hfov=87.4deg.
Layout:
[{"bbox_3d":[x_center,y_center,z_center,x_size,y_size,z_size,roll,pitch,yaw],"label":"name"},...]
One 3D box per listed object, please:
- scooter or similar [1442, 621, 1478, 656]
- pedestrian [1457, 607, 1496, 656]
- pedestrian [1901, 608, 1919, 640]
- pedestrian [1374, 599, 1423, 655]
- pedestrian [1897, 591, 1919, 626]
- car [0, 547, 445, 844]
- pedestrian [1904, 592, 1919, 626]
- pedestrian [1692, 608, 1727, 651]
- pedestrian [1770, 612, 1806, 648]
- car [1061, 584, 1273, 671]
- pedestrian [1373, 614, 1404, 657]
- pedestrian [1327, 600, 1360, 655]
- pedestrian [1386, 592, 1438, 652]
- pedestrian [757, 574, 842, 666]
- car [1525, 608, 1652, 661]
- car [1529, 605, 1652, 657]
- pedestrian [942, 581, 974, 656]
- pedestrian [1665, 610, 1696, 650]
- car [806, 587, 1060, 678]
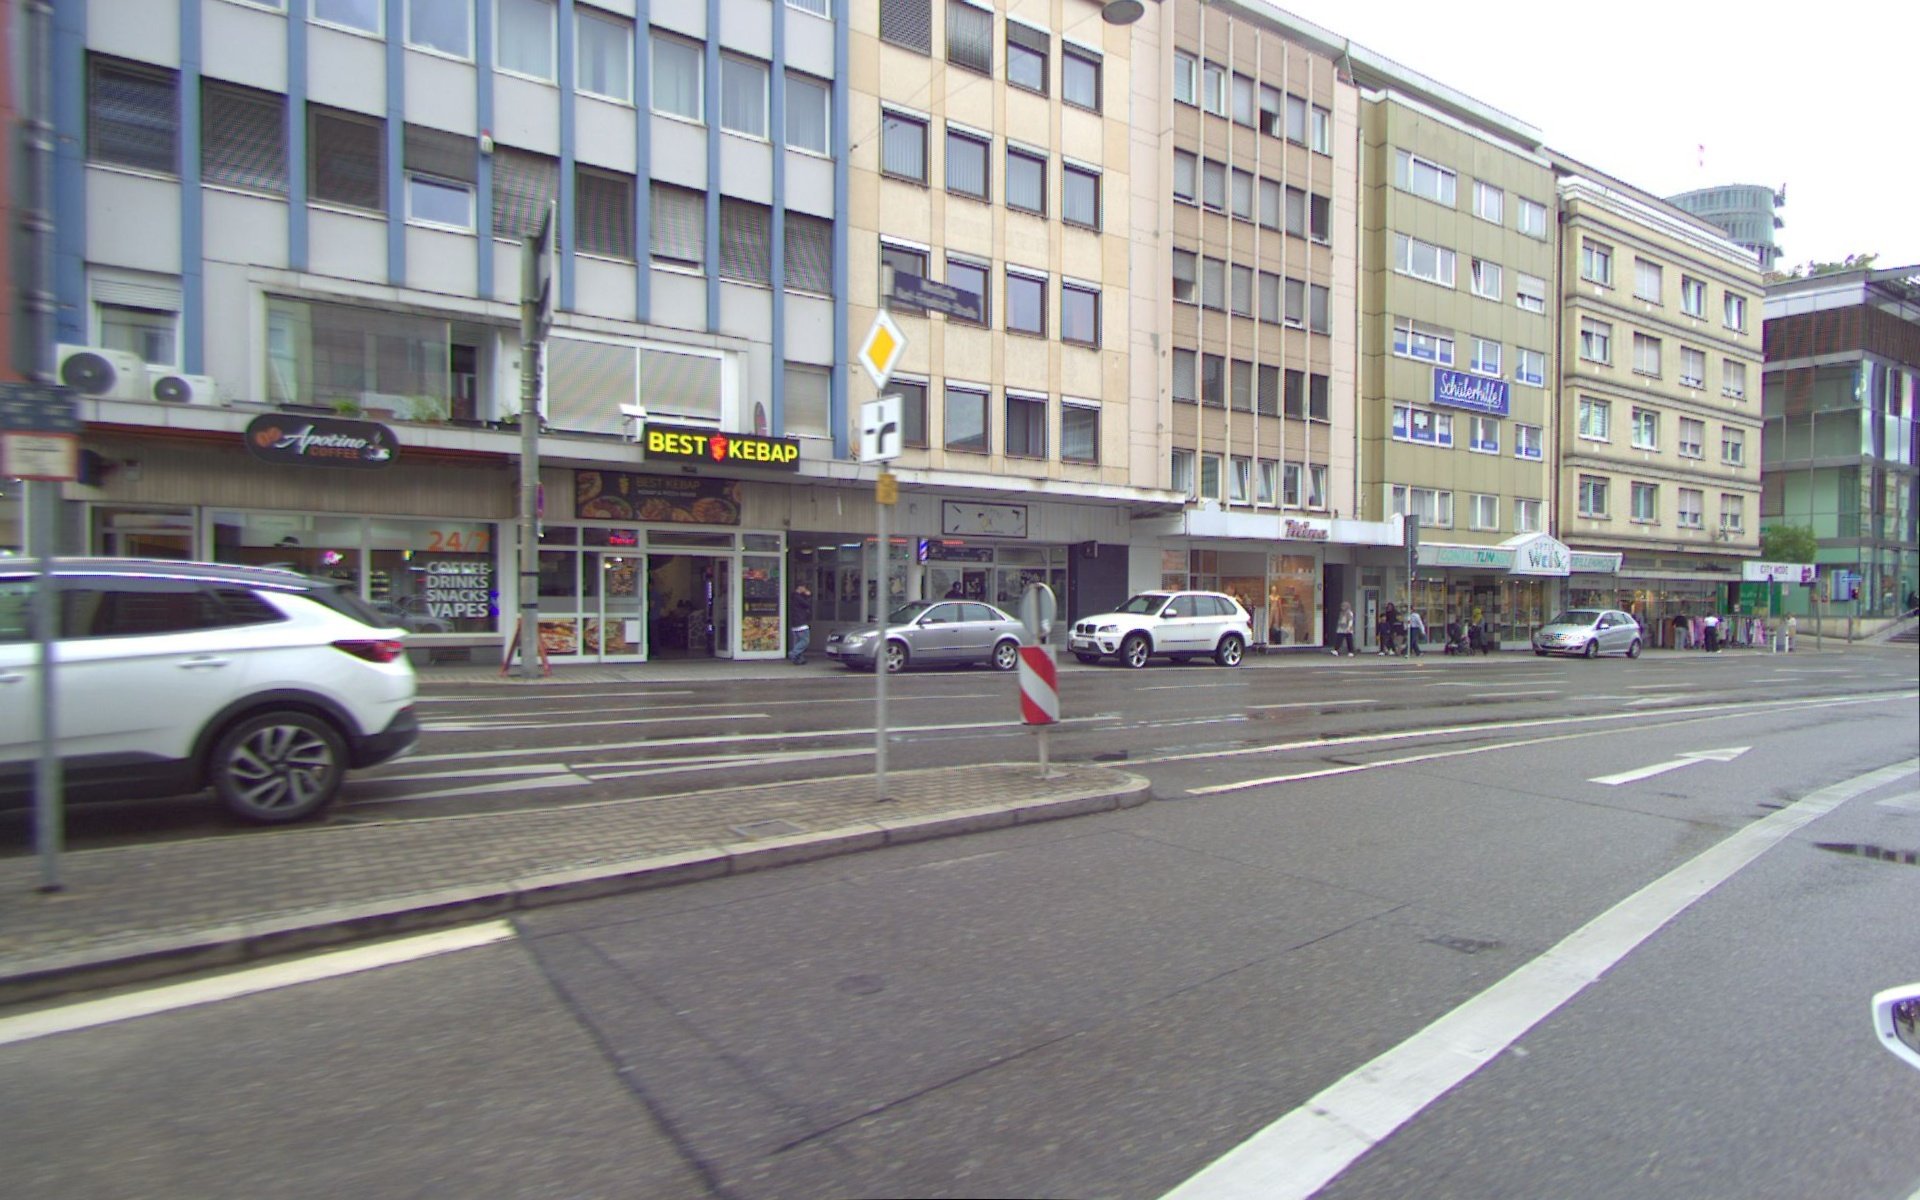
[{"bbox_3d":[16.065,1.219,32.277,0.693,1.068,0.732,0,3,-33],"label":"scooter or similar"},{"bbox_3d":[16.827,1.014,32.717,1.053,1.504,0.663,0,3,-33],"label":"pedestrian"},{"bbox_3d":[52.699,1.330,55.154,0.988,1.736,1.041,2,1,-4],"label":"pedestrian"},{"bbox_3d":[13.902,0.841,31.836,1.075,1.718,0.946,0,3,-33],"label":"pedestrian"},{"bbox_3d":[56.008,0.511,59.181,0.964,2.007,0.876,1,1,-32],"label":"pedestrian"},{"bbox_3d":[-5.729,0.475,6.118,4.386,1.573,1.979,0,3,-36],"label":"car"},{"bbox_3d":[56.844,0.558,59.683,0.840,2.007,0.870,1,1,-31],"label":"pedestrian"},{"bbox_3d":[30.190,1.173,40.490,0.828,1.650,0.775,2,2,15],"label":"pedestrian"},{"bbox_3d":[37.466,1.349,45.468,1.140,1.607,0.868,1,1,-28],"label":"pedestrian"},{"bbox_3d":[4.932,0.622,23.650,4.906,1.852,1.840,1,1,-31],"label":"car"},{"bbox_3d":[13.243,1.081,31.029,0.713,1.266,0.531,0,3,-33],"label":"pedestrian"},{"bbox_3d":[11.435,0.812,29.962,0.605,1.595,0.638,1,1,-31],"label":"pedestrian"},{"bbox_3d":[13.680,0.640,30.377,1.078,1.737,0.946,0,3,-33],"label":"pedestrian"},{"bbox_3d":[-3.203,0.378,20.031,1.403,1.741,0.946,0,3,-33],"label":"pedestrian"},{"bbox_3d":[21.053,1.095,33.618,4.351,1.571,1.837,0,3,-32],"label":"car"},{"bbox_3d":[21.117,1.034,33.613,4.152,1.584,1.692,1,1,-30],"label":"car"},{"bbox_3d":[-0.048,0.423,23.370,0.577,1.731,0.443,0,3,-31],"label":"pedestrian"},{"bbox_3d":[29.633,1.229,41.332,0.674,1.557,0.780,1,2,-33],"label":"pedestrian"},{"bbox_3d":[-0.496,0.629,20.280,4.824,1.630,1.855,1,1,-31],"label":"car"}]
